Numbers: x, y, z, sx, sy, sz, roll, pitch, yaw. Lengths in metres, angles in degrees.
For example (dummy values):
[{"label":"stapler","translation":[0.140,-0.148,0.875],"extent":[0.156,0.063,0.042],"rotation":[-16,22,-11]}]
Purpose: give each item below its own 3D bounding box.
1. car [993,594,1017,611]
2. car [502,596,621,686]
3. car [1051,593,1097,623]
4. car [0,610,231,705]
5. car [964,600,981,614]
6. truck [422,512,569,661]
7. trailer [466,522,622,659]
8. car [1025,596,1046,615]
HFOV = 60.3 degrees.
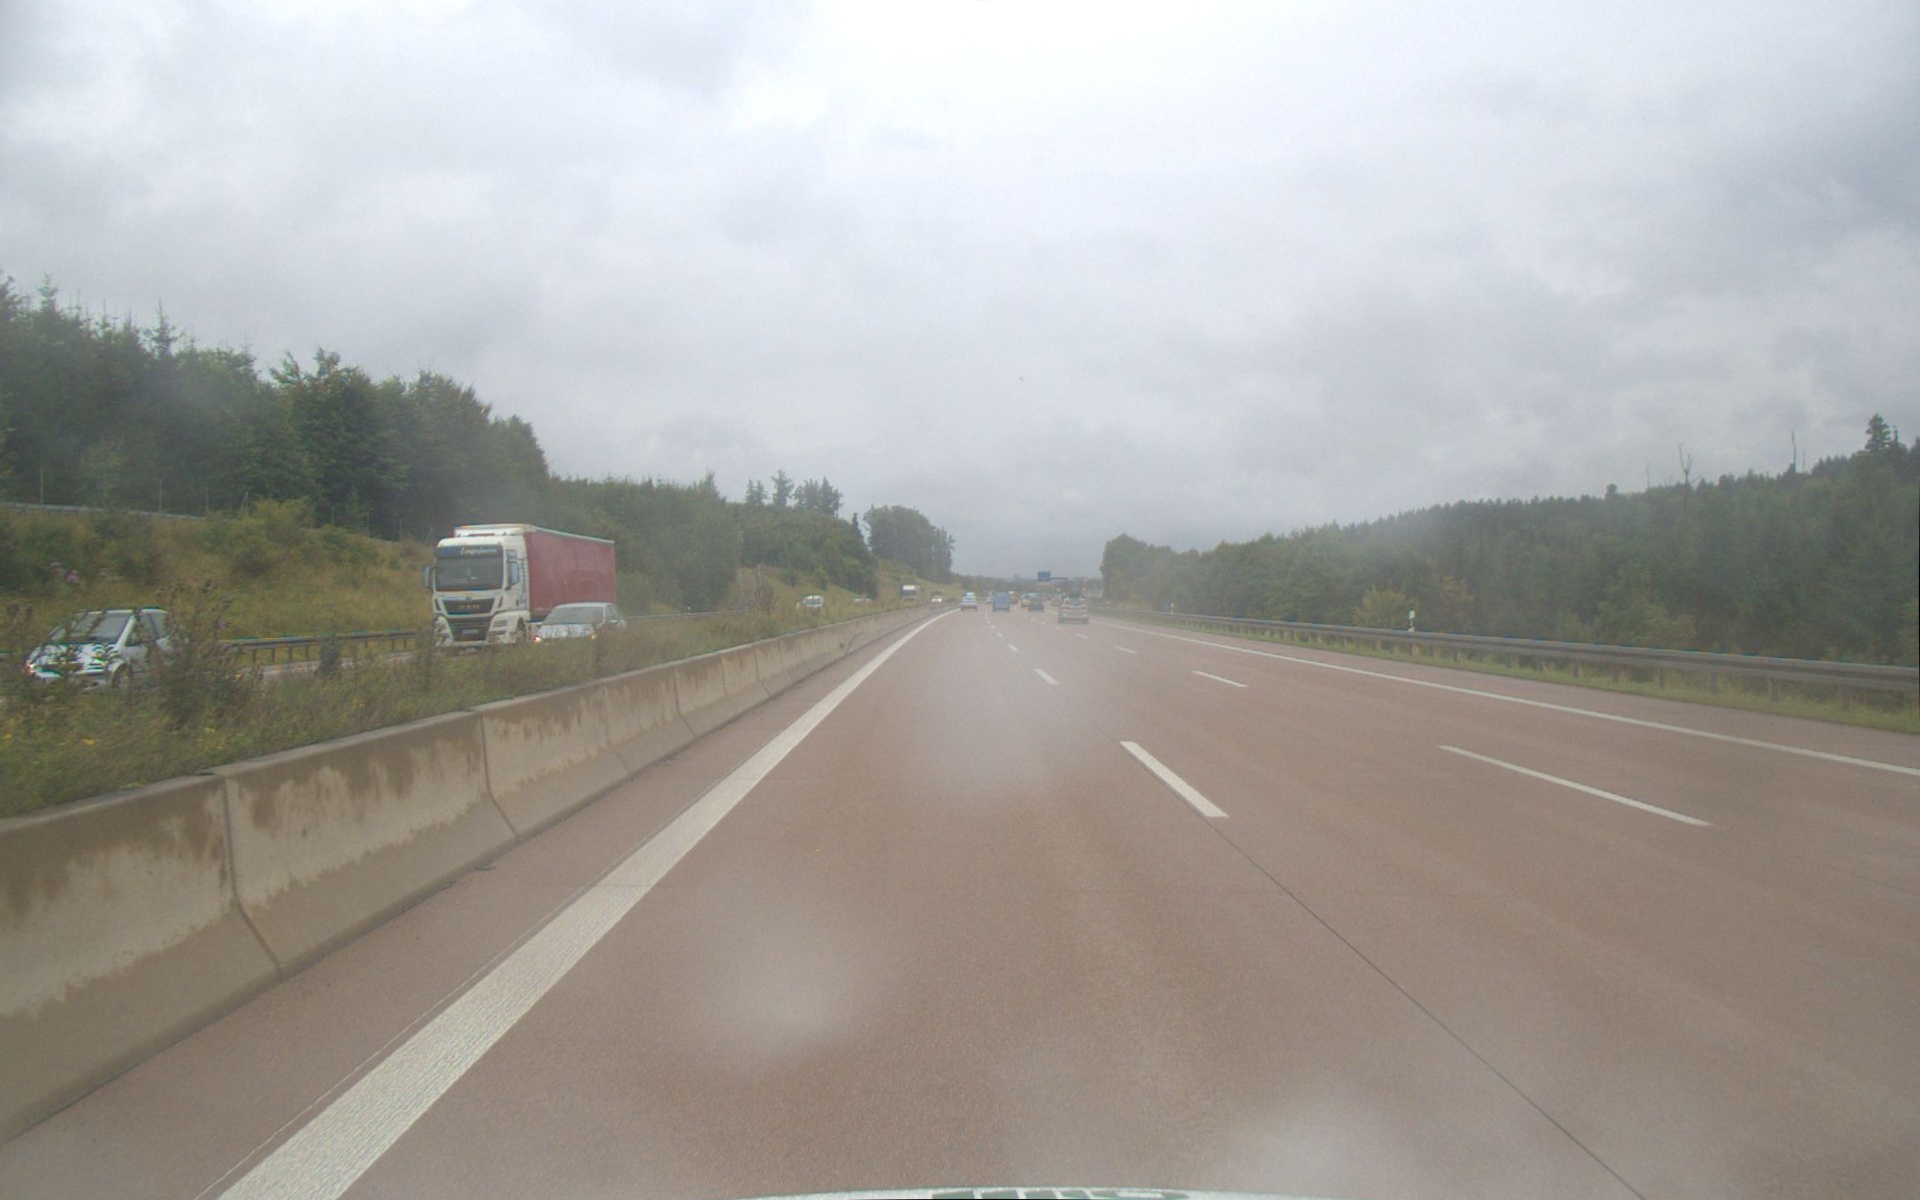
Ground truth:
[{"label":"car","translation":[4.870,0.262,179.512],"extent":[2.276,1.780,4.873],"rotation":[1,-1,-3]},{"label":"car","translation":[-8.633,0.872,36.181],"extent":[1.668,1.816,4.411],"rotation":[1,-1,-3]},{"label":"car","translation":[7.159,0.517,104.396],"extent":[2.276,1.780,4.873],"rotation":[1,-1,-3]},{"label":"car","translation":[-15.327,1.018,30.326],"extent":[1.953,1.603,4.523],"rotation":[0,-1,-1]},{"label":"car","translation":[1.337,0.814,183.235],"extent":[1.835,1.470,4.876],"rotation":[1,-1,0]},{"label":"truck","translation":[-15.206,-0.360,54.693],"extent":[2.890,4.556,6.790],"rotation":[1,-1,-1]},{"label":"trailer","translation":[-15.304,-0.222,61.988],"extent":[2.881,4.567,11.772],"rotation":[1,-1,-1]},{"label":"car","translation":[8.520,0.674,187.873],"extent":[1.954,2.049,3.997],"rotation":[1,-1,-3]}]
